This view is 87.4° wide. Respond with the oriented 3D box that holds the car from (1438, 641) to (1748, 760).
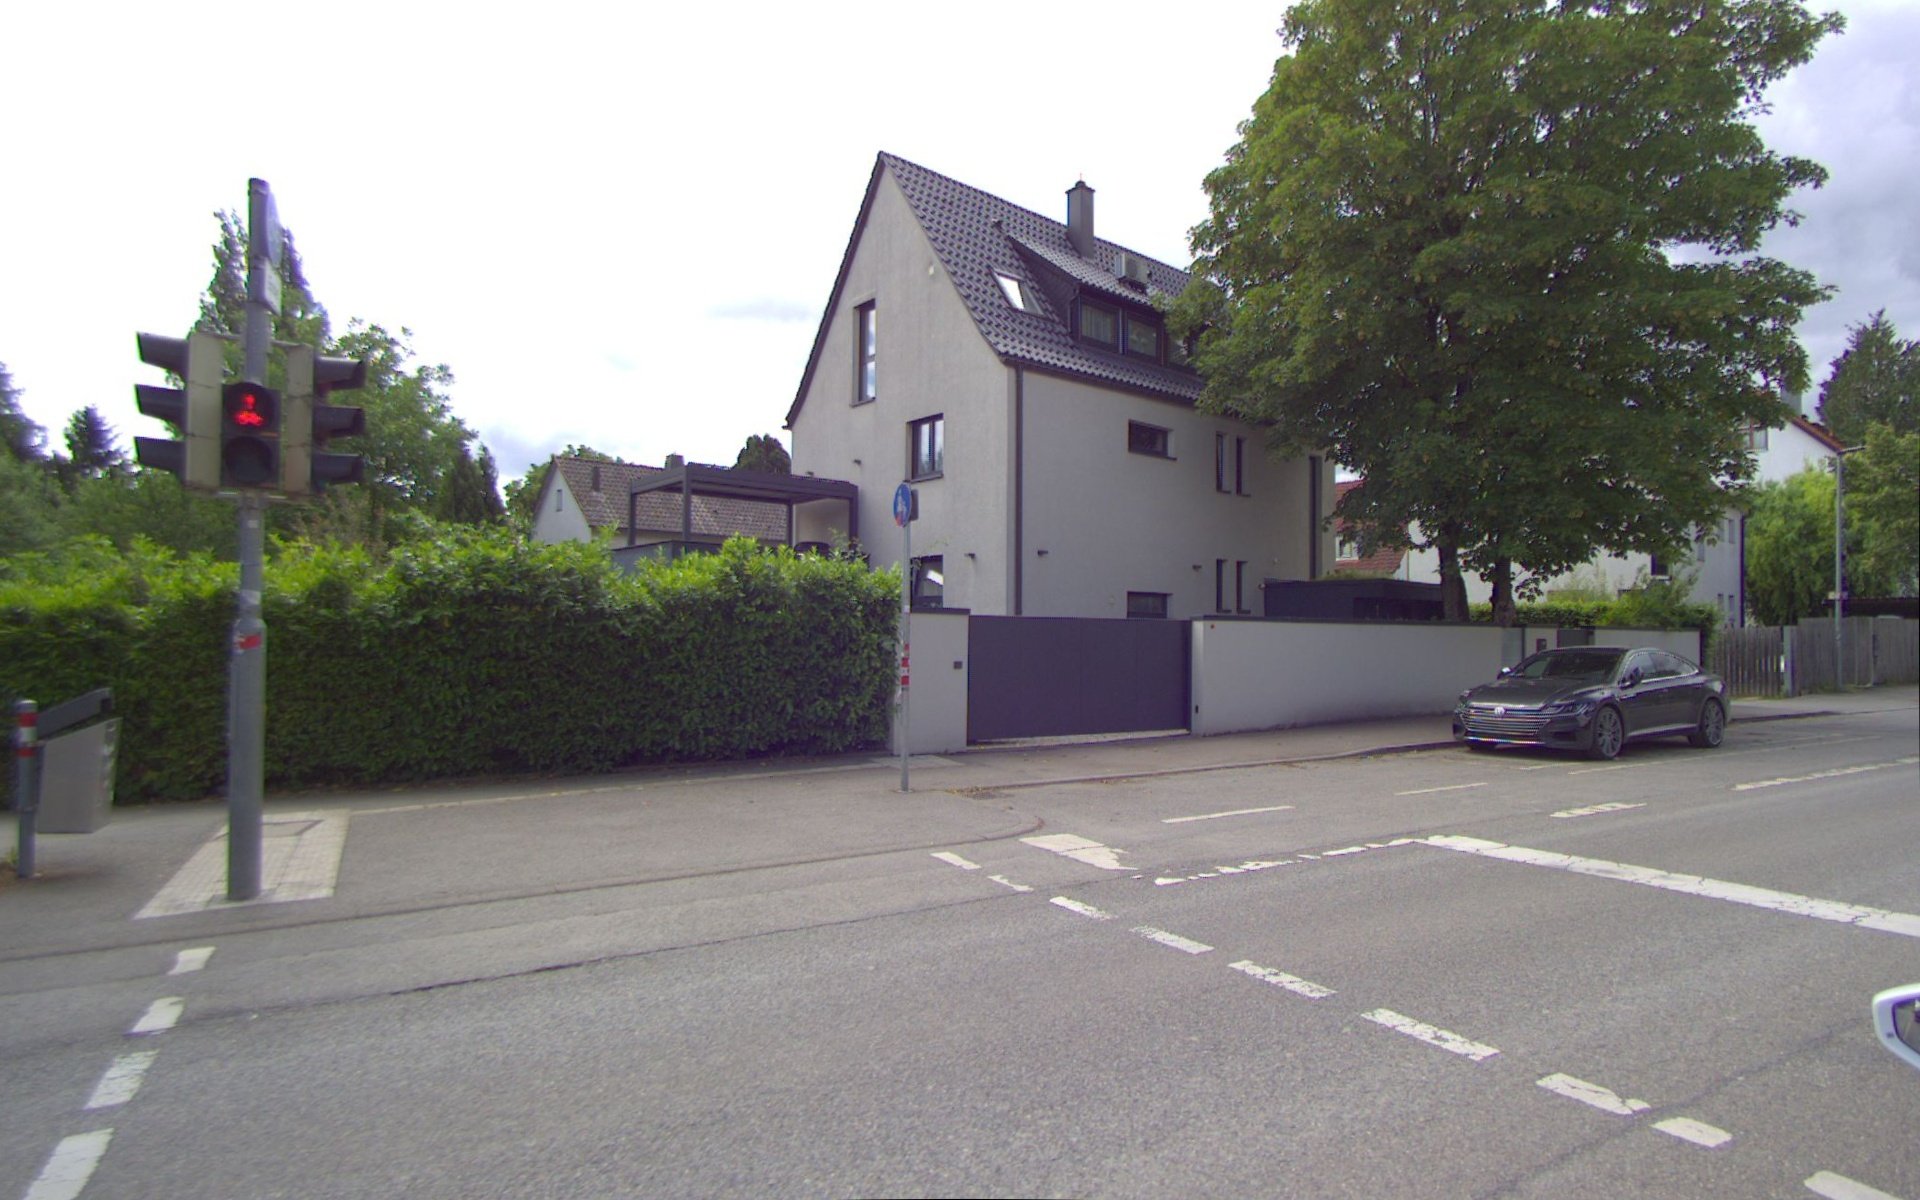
[{"bbox_3d":[8.890,1.293,13.999,4.746,1.413,1.710,1,-3,-31],"label":"car"}]
